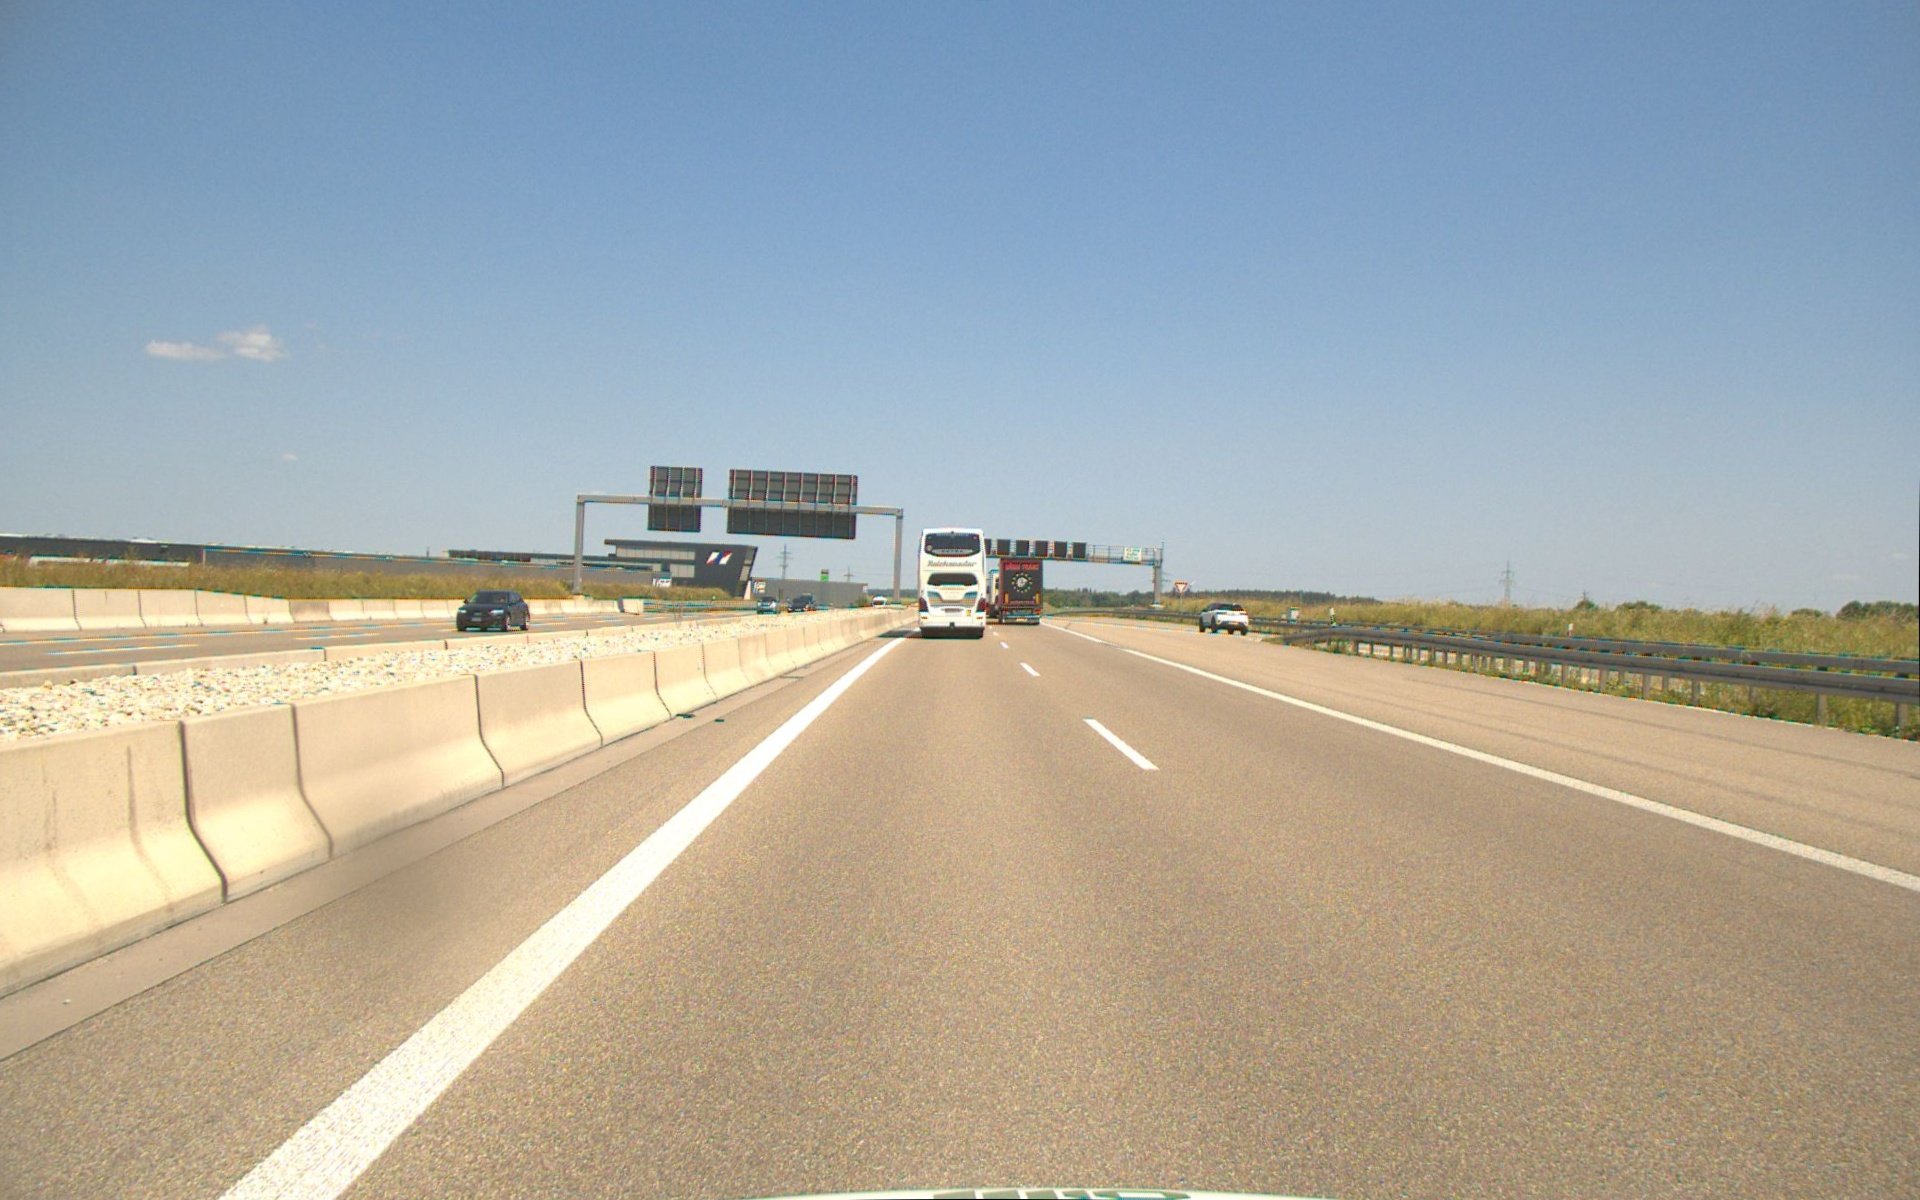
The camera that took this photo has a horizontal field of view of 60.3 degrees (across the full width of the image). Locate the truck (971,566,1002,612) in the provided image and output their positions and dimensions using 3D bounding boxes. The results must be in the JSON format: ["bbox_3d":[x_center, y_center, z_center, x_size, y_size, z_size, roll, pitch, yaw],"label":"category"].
[{"bbox_3d":[2.236,-0.926,140.667,2.388,3.855,6.492,1,0,-1],"label":"truck"}]

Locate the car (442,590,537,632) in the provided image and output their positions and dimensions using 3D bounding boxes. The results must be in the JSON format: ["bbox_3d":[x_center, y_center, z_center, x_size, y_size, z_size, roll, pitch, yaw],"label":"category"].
[{"bbox_3d":[-16.379,0.368,57.790,1.952,1.403,4.364,1,0,1],"label":"car"}]

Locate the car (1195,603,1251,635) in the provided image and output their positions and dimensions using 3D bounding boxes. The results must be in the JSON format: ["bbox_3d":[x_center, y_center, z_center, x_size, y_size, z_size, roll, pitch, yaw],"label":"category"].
[{"bbox_3d":[13.307,0.931,83.879,1.854,1.556,4.258,1,0,-4],"label":"car"}]

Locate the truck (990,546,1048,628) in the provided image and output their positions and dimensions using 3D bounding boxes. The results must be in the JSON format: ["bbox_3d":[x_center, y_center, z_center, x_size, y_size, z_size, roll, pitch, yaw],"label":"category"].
[{"bbox_3d":[3.727,-0.655,105.285,3.309,4.542,13.568,1,-2,2],"label":"truck"}]

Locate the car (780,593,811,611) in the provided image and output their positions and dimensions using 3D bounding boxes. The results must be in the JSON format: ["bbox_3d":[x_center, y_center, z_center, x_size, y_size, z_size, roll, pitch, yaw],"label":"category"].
[{"bbox_3d":[-12.768,0.151,128.932,1.806,1.406,4.753,1,0,1],"label":"car"}]

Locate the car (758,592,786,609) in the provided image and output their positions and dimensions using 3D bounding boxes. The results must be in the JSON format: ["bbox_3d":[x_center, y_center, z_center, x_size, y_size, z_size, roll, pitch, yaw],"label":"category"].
[{"bbox_3d":[-15.752,0.034,138.768,1.852,1.352,3.986,1,0,0],"label":"car"}]

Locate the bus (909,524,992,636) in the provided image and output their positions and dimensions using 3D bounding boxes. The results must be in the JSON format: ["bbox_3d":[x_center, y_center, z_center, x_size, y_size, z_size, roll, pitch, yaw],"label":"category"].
[{"bbox_3d":[-0.491,-0.816,65.040,2.920,4.044,9.102,1,1,-2],"label":"bus"}]
